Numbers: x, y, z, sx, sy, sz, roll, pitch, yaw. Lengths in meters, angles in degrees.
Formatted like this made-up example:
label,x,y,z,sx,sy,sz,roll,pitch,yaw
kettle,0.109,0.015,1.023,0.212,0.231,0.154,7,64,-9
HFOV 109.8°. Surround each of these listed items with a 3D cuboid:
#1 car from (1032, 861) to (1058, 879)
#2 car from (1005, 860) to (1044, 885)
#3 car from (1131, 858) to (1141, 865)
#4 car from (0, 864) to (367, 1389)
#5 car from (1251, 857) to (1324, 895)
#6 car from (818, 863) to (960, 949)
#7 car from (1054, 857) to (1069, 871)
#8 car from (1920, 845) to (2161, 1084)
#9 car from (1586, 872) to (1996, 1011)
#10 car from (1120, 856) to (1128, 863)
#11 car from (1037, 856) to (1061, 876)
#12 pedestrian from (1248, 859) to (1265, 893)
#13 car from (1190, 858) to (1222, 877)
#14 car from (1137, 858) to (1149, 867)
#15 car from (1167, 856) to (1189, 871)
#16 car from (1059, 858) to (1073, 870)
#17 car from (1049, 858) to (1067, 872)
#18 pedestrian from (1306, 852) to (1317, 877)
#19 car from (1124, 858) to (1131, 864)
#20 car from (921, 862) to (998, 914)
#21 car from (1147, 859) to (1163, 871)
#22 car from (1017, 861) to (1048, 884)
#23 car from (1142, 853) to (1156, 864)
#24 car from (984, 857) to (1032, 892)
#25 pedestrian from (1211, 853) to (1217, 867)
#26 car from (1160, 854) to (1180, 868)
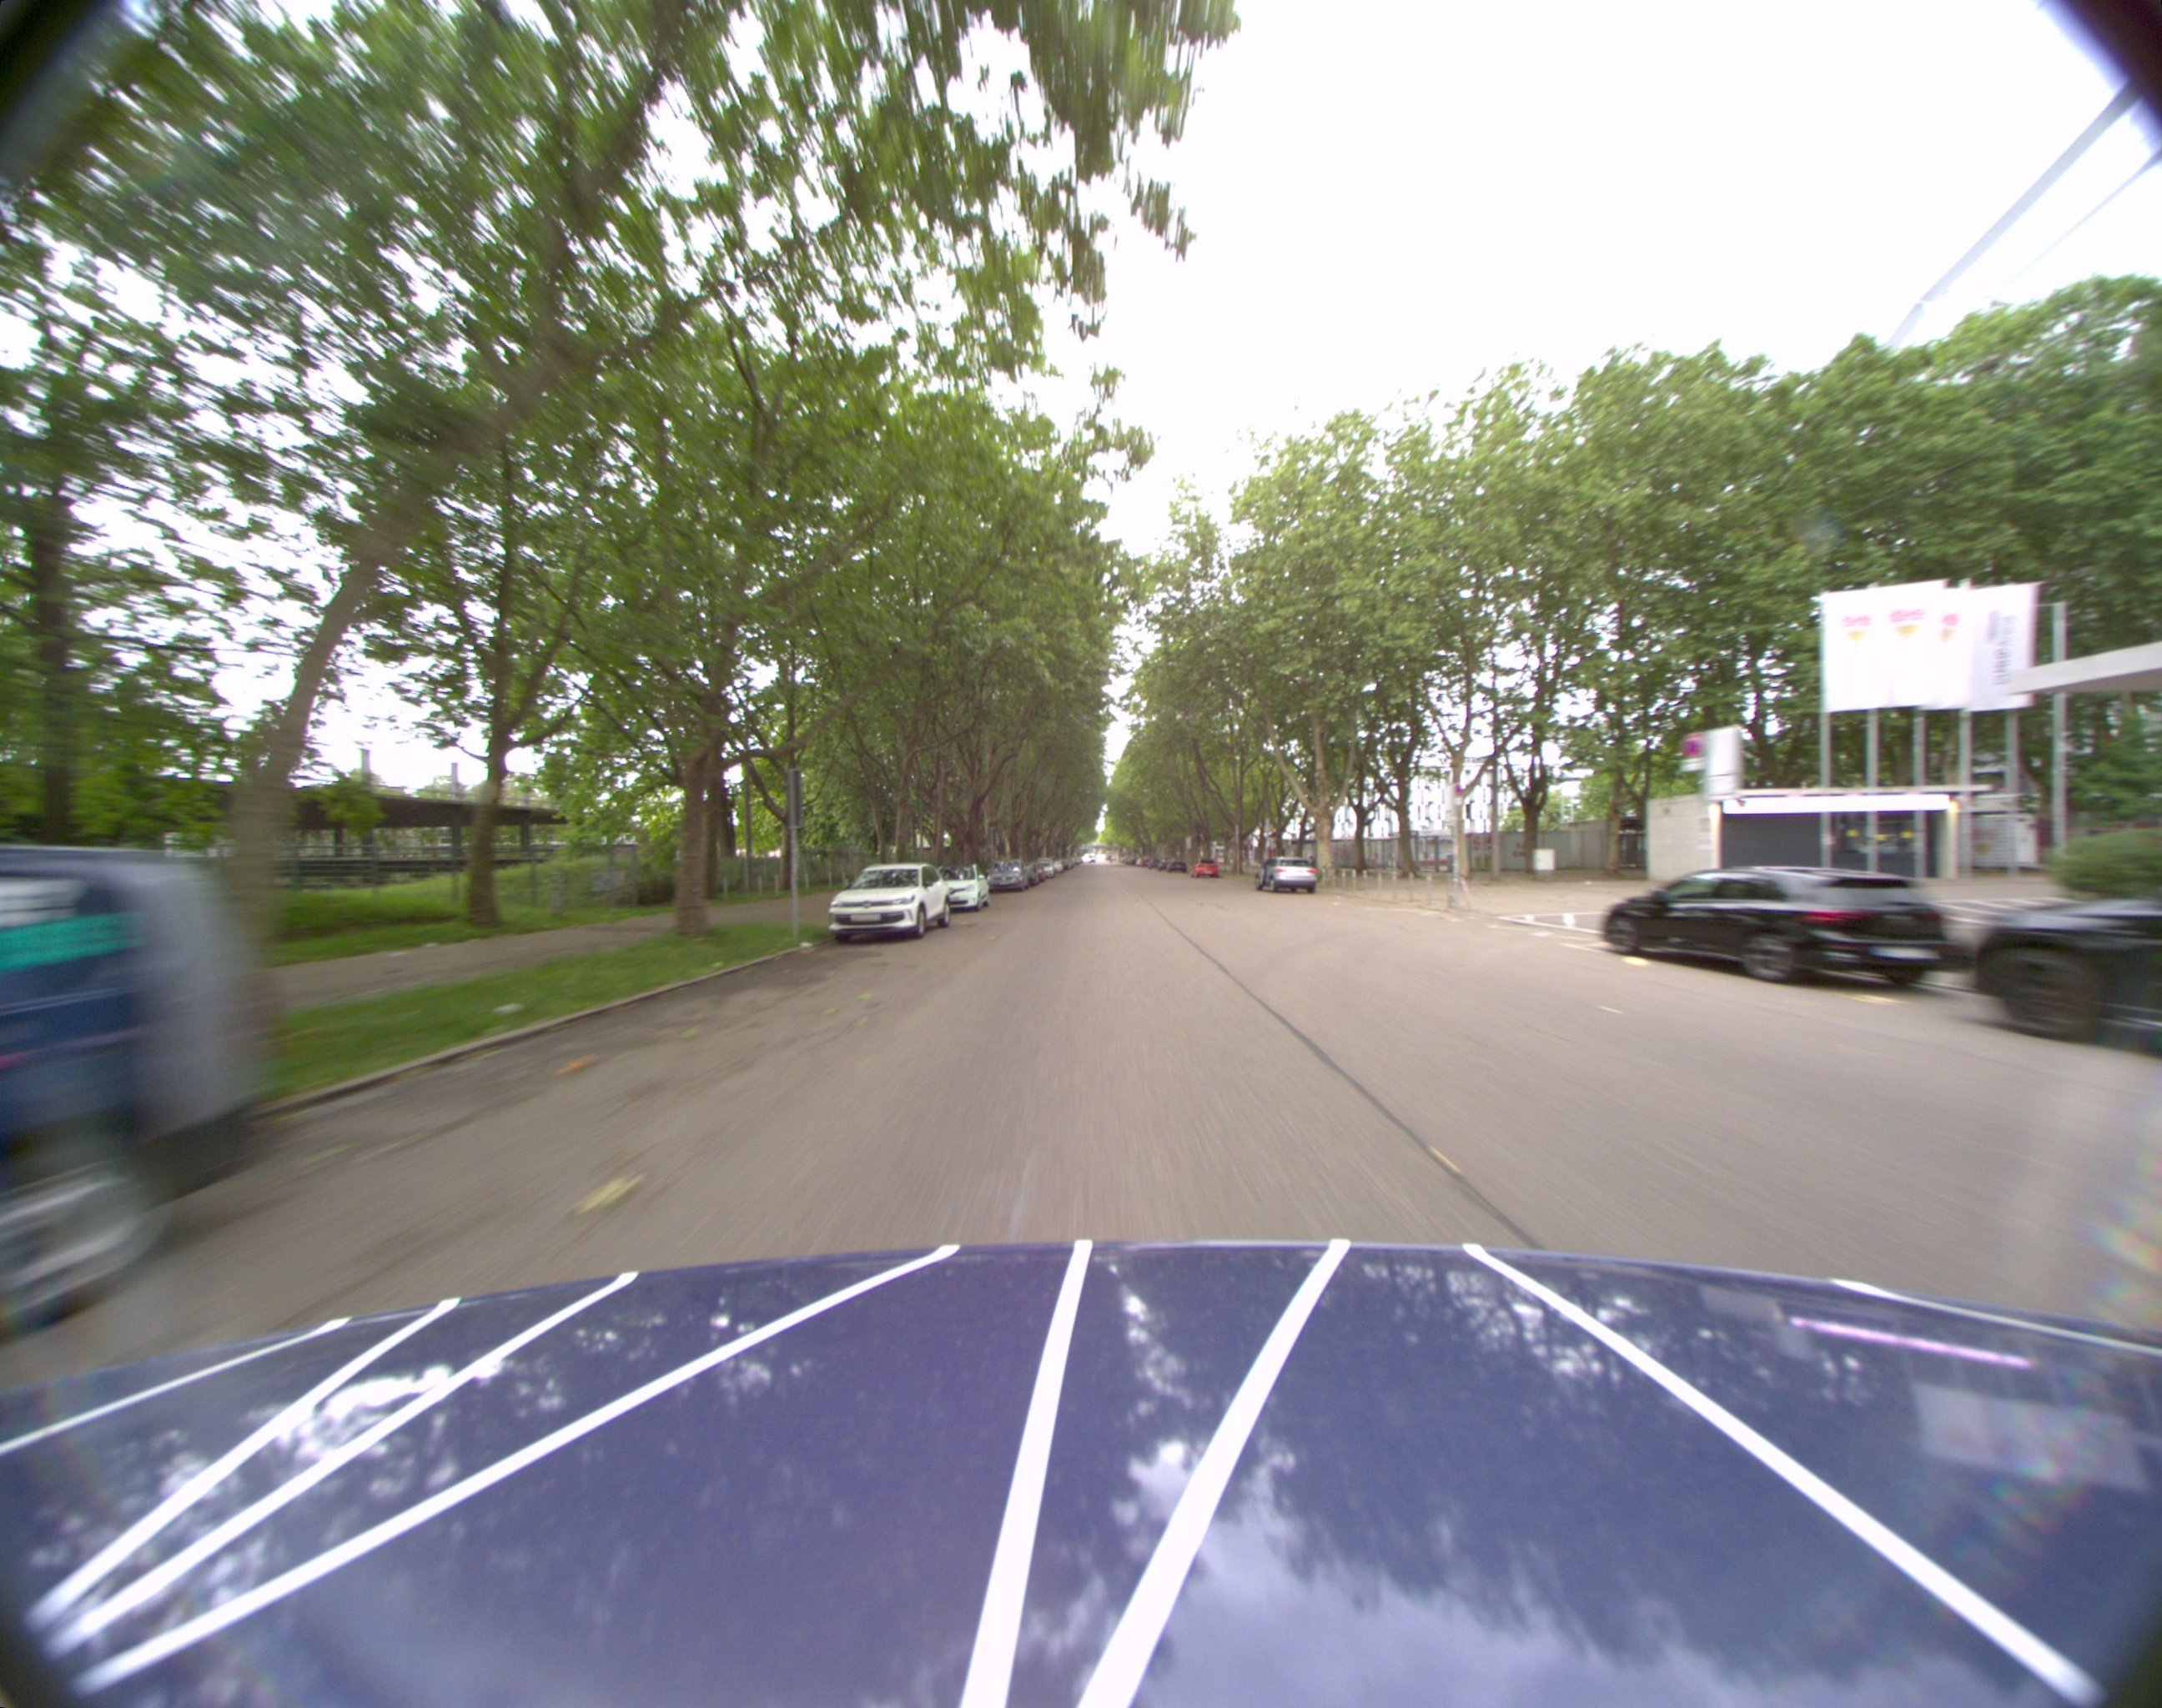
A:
label,x,y,z,sx,sy,sz,roll,pitch,yaw
car,-3.038,1.328,64.774,1.882,1.419,4.586,-1,0,0
car,-3.440,1.099,47.095,1.881,1.419,4.480,-1,0,2
car,11.156,1.508,154.877,1.837,1.485,4.443,2,0,2
car,-4.670,0.977,1.283,1.852,1.772,5.211,-2,0,1
car,9.066,0.930,33.775,2.078,1.553,4.756,-1,0,1
car,-4.200,1.063,17.513,1.919,1.608,4.749,-1,0,1
car,-2.461,1.259,97.117,1.712,1.688,4.630,-3,0,0
car,9.057,0.848,4.832,2.039,1.779,4.908,2,0,1
car,9.282,1.020,10.566,1.709,1.411,4.325,1,0,1
car,10.792,1.319,190.189,1.900,1.785,4.613,2,0,1
car,-2.969,1.072,70.408,1.907,1.728,4.507,-1,0,1
pedestrian,7.796,0.963,33.741,0.585,1.458,0.567,-2,0,5
car,9.453,0.998,57.665,1.812,1.346,4.000,-1,0,1
car,11.155,1.532,136.988,1.908,1.394,4.752,2,0,1
car,9.629,0.902,75.814,1.831,1.457,4.628,0,0,3
car,-2.175,1.387,110.441,1.782,1.663,4.637,-1,0,0
car,-2.566,1.217,84.400,1.711,1.419,3.889,-3,0,1
pedestrian,14.723,0.676,48.561,0.593,1.610,0.792,-1,0,10
car,12.540,1.942,204.761,1.822,1.584,4.346,2,0,3
car,-4.001,1.076,25.677,1.812,1.517,4.096,-1,0,1
car,10.203,1.509,104.971,1.729,1.477,4.575,-1,0,1
car,-3.377,1.280,53.889,1.861,1.473,4.177,-1,0,1
car,11.012,0.796,122.976,1.954,1.740,4.638,0,0,1
car,-3.759,1.035,39.900,1.986,1.670,4.731,-1,0,0
pedestrian,16.346,0.689,93.177,0.575,1.732,0.768,-1,0,16
car,10.202,0.798,87.239,1.882,1.518,4.151,0,0,1
